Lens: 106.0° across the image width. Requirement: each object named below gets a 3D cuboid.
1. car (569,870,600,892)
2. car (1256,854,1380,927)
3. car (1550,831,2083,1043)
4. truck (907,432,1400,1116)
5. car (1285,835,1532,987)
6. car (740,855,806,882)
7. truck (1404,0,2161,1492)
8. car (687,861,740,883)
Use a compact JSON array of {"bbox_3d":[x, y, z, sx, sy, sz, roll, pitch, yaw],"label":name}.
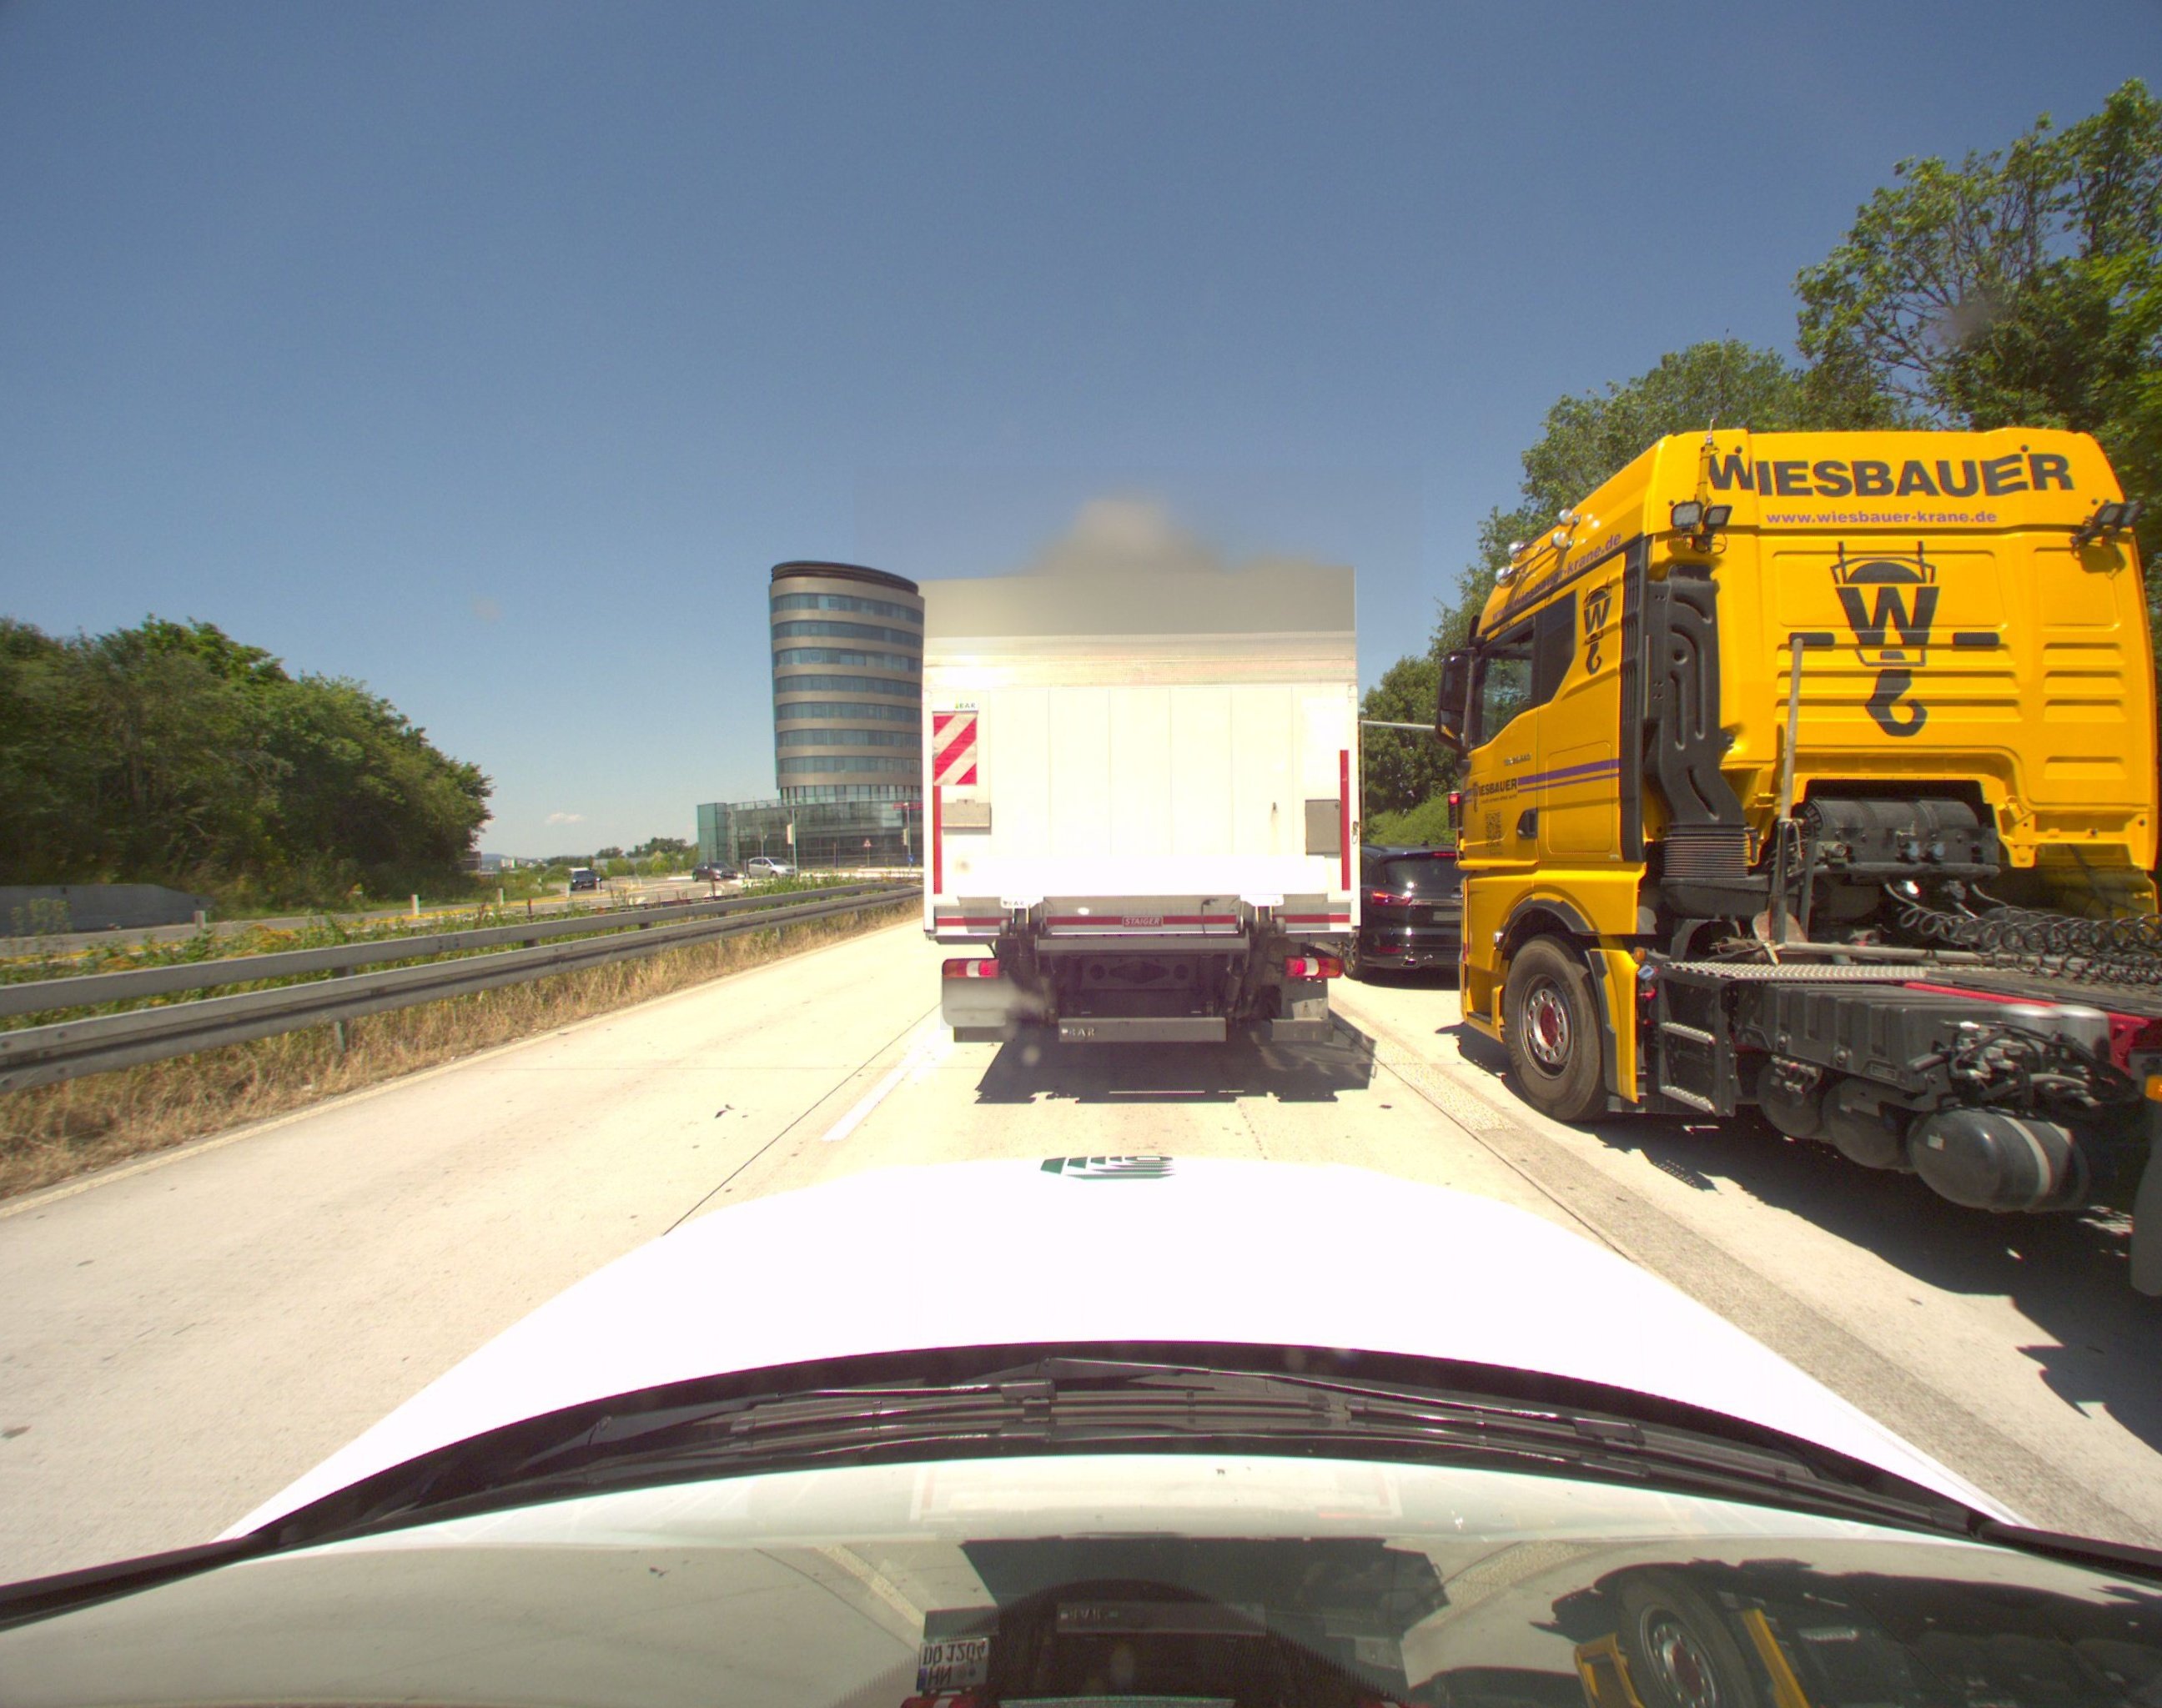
[{"bbox_3d":[-35.686,1.885,58.514,1.724,1.485,4.248,0,-1,-34],"label":"car"},{"bbox_3d":[5.134,0.736,18.257,1.759,1.410,4.615,0,0,5],"label":"car"},{"bbox_3d":[7.726,0.727,9.419,1.763,1.807,4.789,0,-1,-1],"label":"car"},{"bbox_3d":[0.548,-0.421,9.299,2.759,3.860,9.374,0,-1,2],"label":"truck"},{"bbox_3d":[4.104,0.635,11.107,1.776,1.639,4.652,0,-1,4],"label":"car"},{"bbox_3d":[-20.663,0.980,54.580,4.274,1.595,1.788,-3,-2,29],"label":"car"},{"bbox_3d":[3.925,-0.461,2.443,3.003,3.772,7.470,0,0,1],"label":"truck"},{"bbox_3d":[-26.668,1.297,59.057,4.273,1.456,1.708,-3,-2,37],"label":"car"}]
